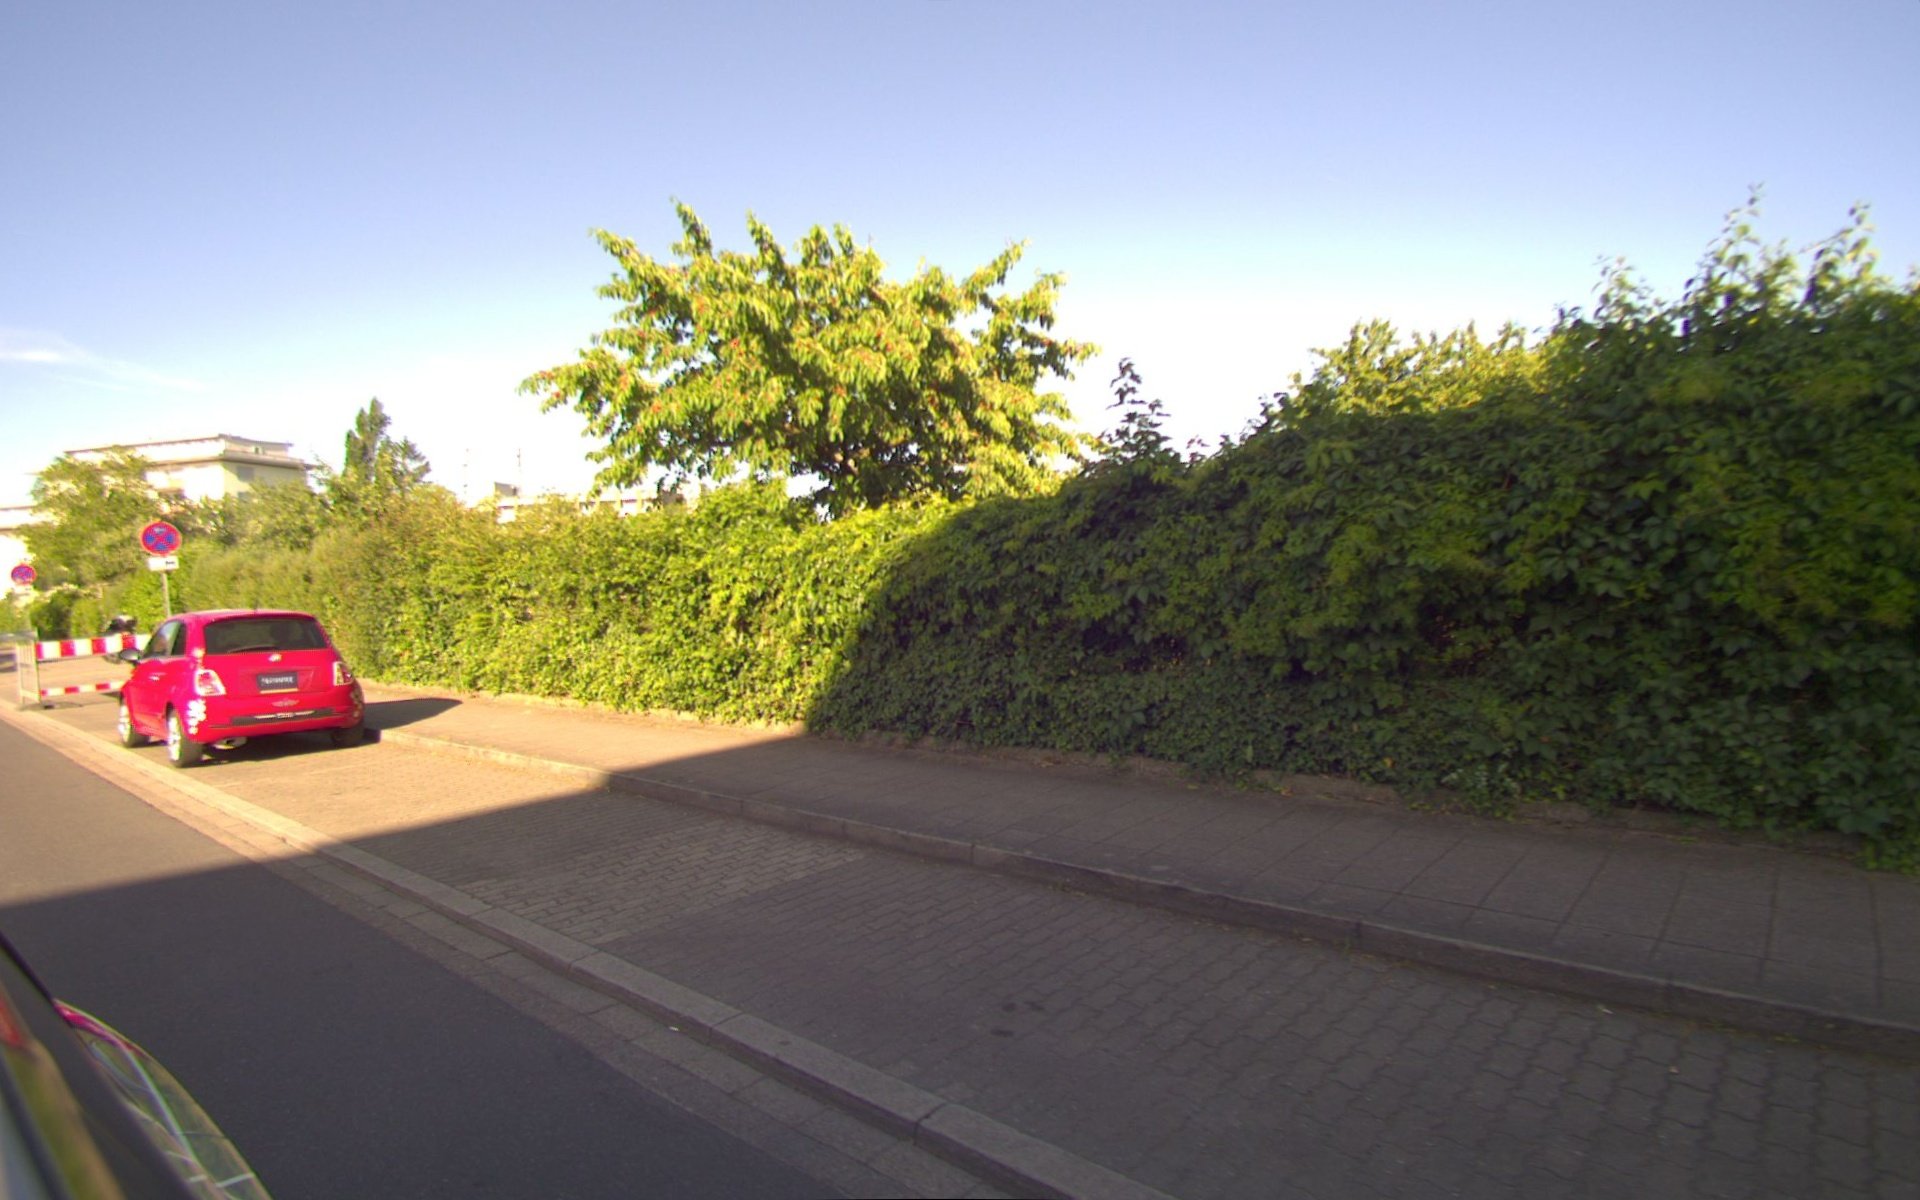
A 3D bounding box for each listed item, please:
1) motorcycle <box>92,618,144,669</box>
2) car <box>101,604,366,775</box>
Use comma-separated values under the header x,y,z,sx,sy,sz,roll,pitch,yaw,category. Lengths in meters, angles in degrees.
x,y,z,sx,sy,sz,roll,pitch,yaw,category
-22.245,1.135,26.732,2.088,1.277,0.561,-1,2,38,motorcycle
-7.931,0.845,10.942,3.569,1.506,1.543,-1,0,41,car
